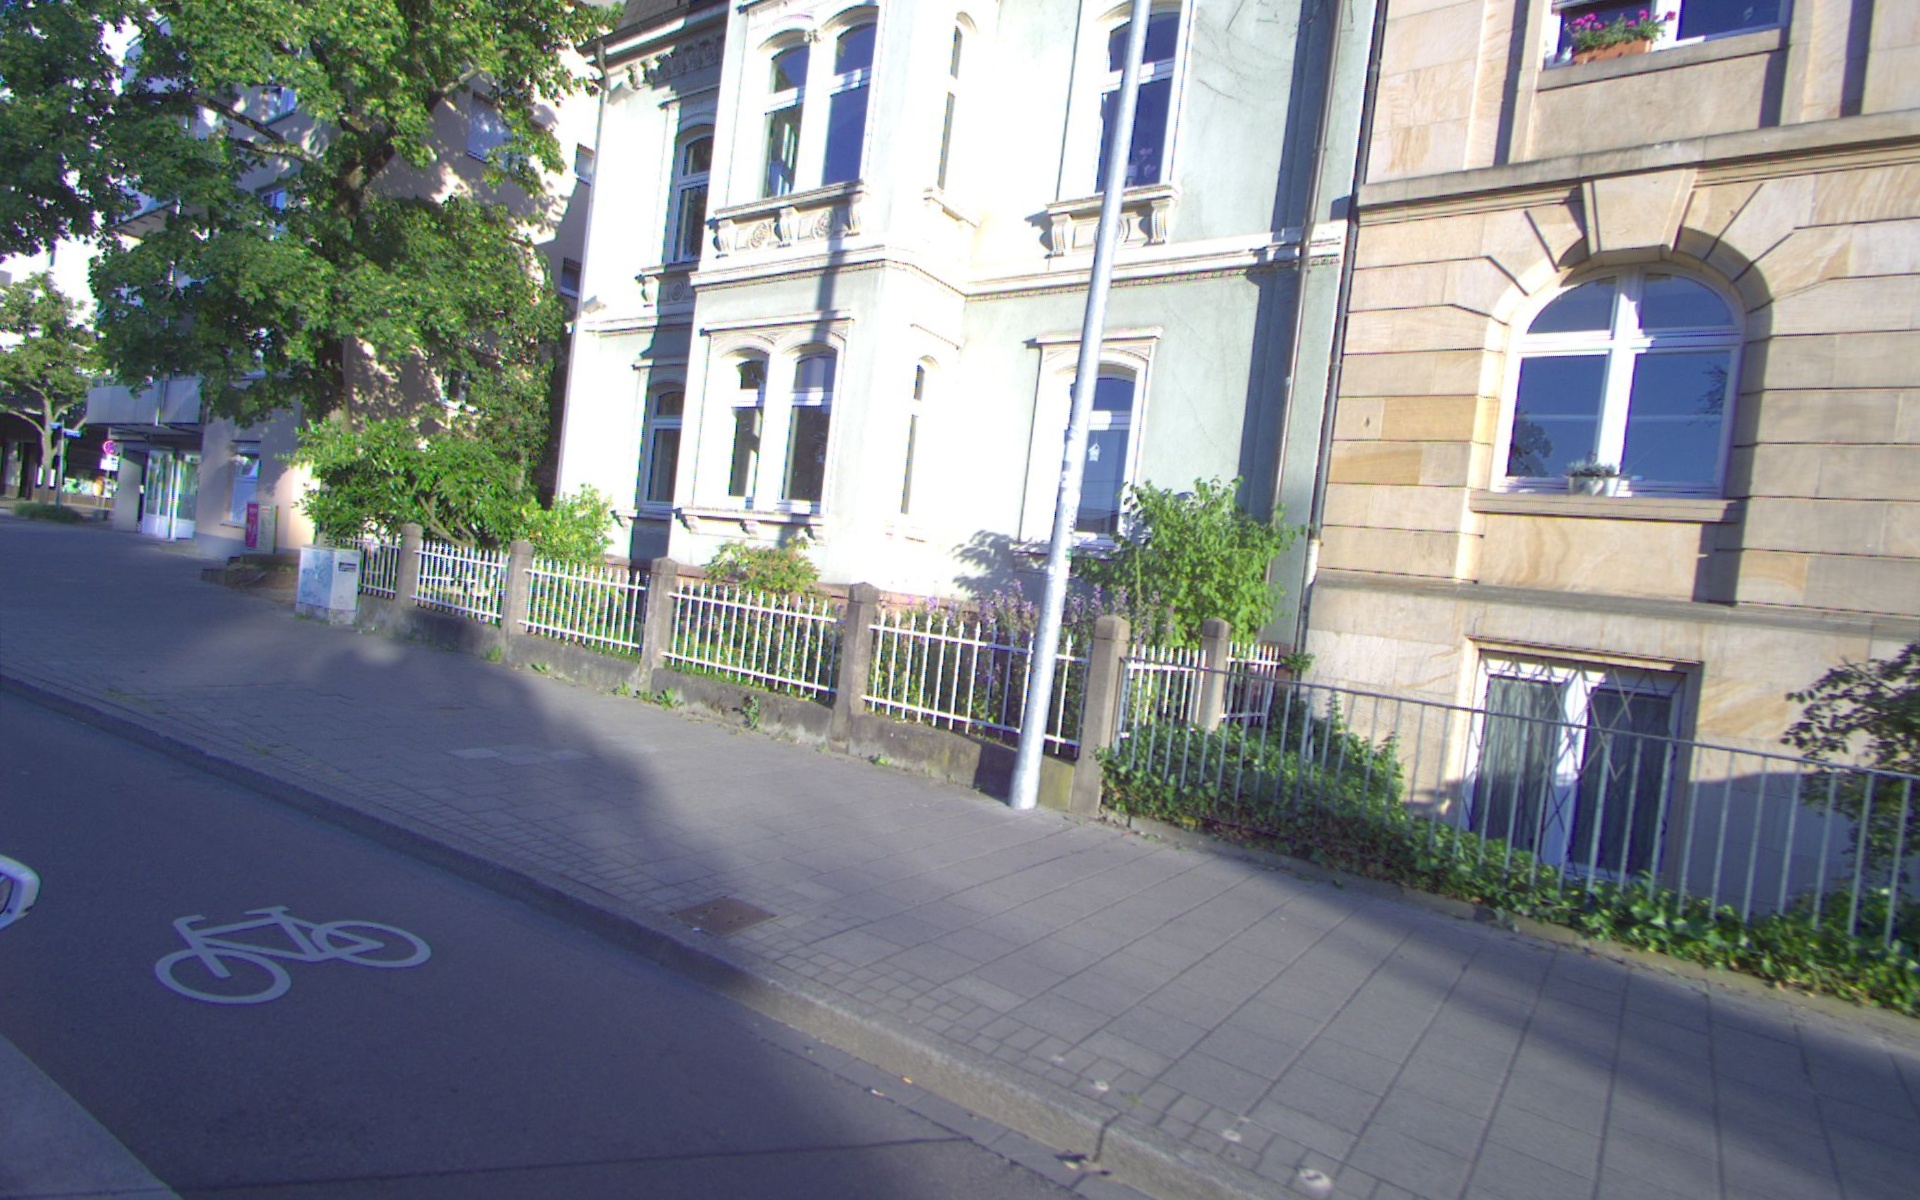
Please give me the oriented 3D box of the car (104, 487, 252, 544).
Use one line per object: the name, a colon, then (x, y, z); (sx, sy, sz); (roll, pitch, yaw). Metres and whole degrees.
car: (-29.057, -3.080, 37.459); (1.681, 1.605, 4.035); (4, -1, 39)
